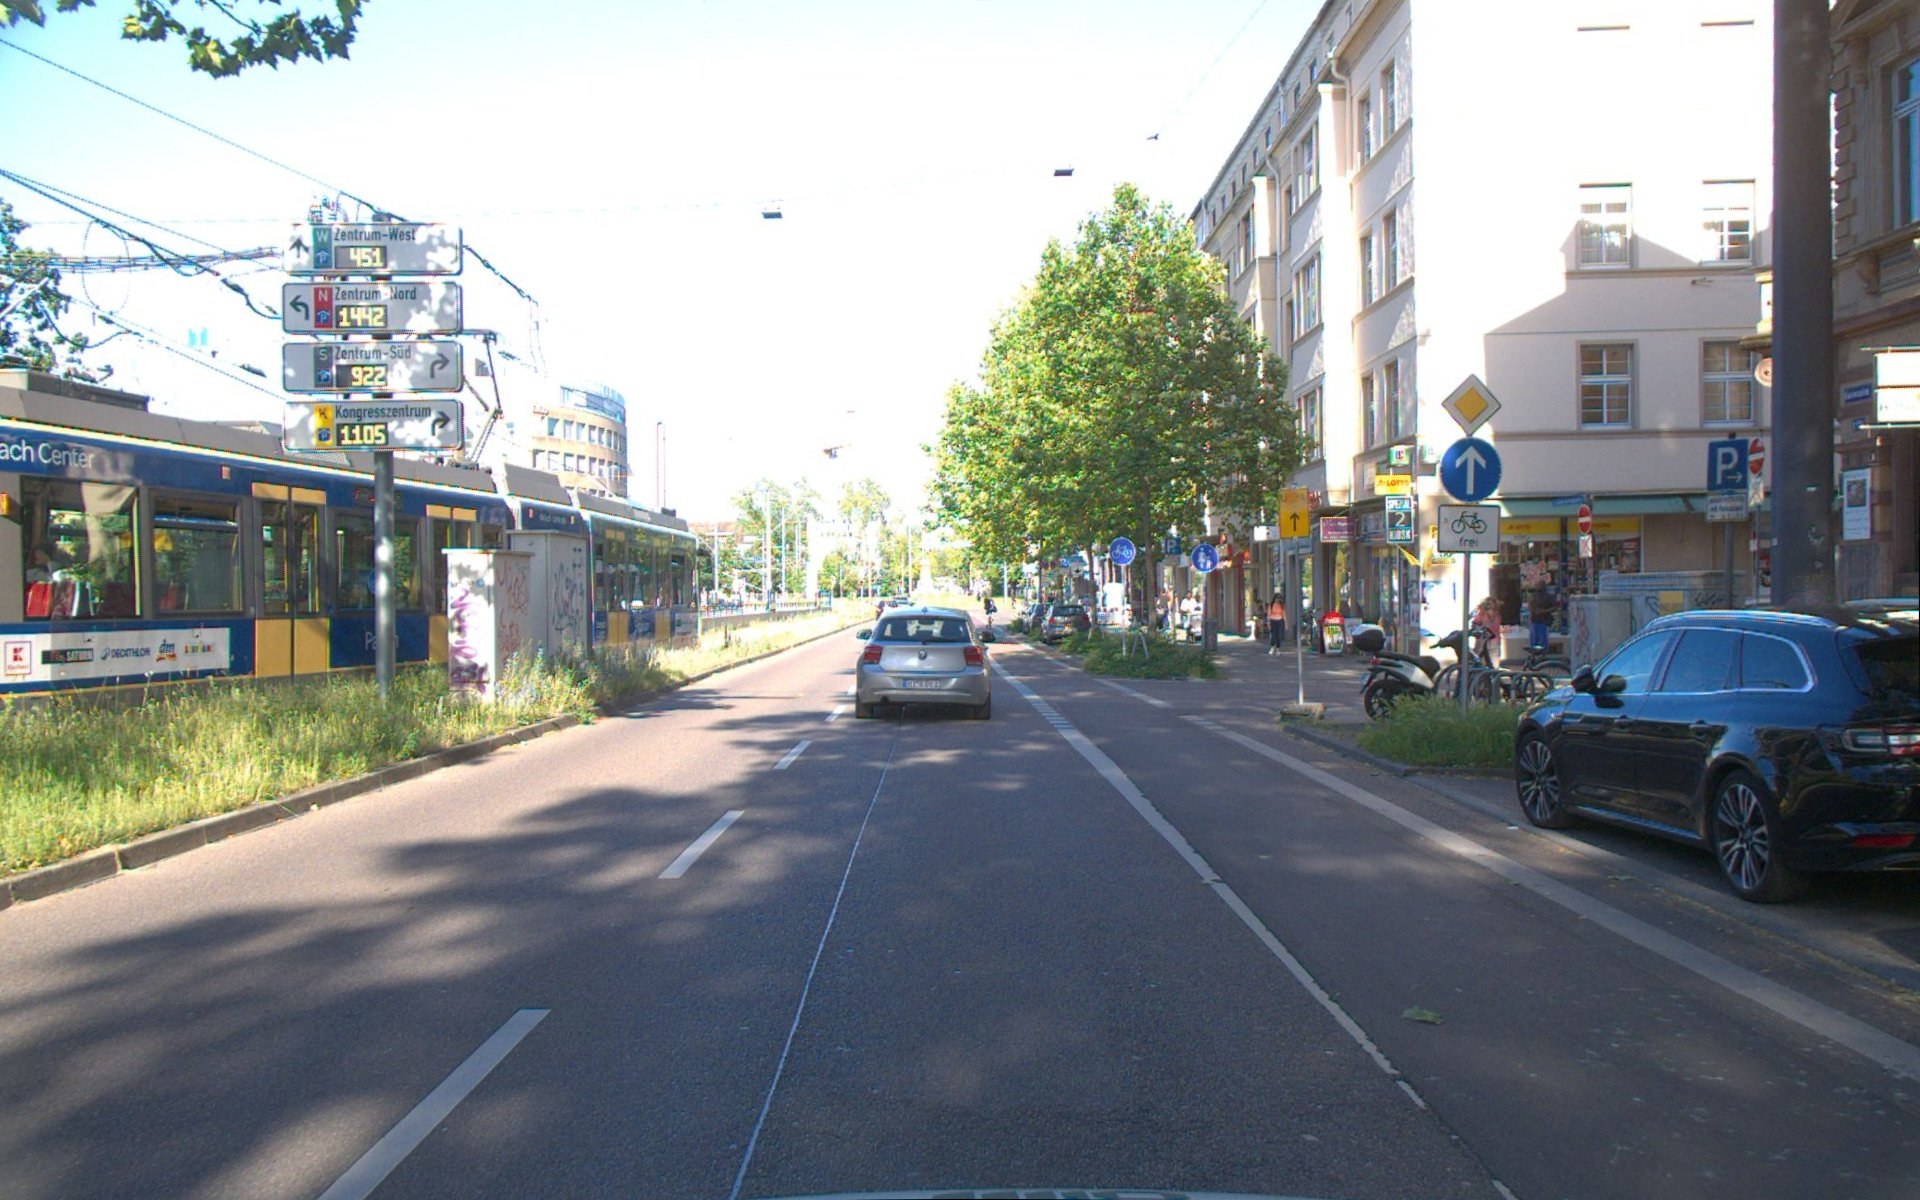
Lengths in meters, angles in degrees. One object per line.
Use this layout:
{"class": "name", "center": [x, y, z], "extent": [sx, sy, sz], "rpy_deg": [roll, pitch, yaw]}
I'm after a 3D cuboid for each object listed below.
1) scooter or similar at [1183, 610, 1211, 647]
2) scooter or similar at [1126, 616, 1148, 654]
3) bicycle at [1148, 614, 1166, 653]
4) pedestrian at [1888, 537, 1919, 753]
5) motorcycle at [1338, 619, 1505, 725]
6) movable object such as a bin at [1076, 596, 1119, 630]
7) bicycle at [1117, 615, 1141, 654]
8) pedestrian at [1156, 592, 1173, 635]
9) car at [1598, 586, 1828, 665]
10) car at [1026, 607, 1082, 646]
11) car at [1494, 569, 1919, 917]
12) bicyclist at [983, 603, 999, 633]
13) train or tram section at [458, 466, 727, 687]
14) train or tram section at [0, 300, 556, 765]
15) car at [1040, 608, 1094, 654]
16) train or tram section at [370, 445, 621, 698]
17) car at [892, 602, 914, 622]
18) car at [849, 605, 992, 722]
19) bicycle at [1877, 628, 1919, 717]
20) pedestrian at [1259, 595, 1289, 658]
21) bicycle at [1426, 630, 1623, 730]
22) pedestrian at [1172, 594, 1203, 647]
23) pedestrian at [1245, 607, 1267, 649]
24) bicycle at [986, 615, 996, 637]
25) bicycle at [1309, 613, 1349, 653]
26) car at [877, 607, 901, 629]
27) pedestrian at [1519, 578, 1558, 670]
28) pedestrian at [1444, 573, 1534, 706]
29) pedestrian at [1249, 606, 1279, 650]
{"class": "scooter or similar", "center": [7.622, 0.917, 53.216], "extent": [0.729, 1.192, 0.848], "rpy_deg": [-1, -1, -4]}
{"class": "scooter or similar", "center": [5.878, 1.166, 54.887], "extent": [0.371, 1.217, 1.575], "rpy_deg": [-1, 0, 19]}
{"class": "bicycle", "center": [6.377, 1.074, 53.477], "extent": [0.377, 1.228, 1.875], "rpy_deg": [1, 0, 13]}
{"class": "pedestrian", "center": [8.606, 0.395, 14.280], "extent": [0.630, 1.859, 0.894], "rpy_deg": [1, -1, -4]}
{"class": "motorcycle", "center": [5.694, 0.888, 20.440], "extent": [1.911, 1.252, 0.515], "rpy_deg": [1, -1, -4]}
{"class": "movable object such as a bin", "center": [8.149, 0.759, 98.421], "extent": [1.908, 1.875, 3.475], "rpy_deg": [-1, 1, -6]}
{"class": "bicycle", "center": [5.397, 1.113, 52.944], "extent": [0.384, 1.236, 1.901], "rpy_deg": [-1, -2, -4]}
{"class": "pedestrian", "center": [8.315, 0.532, 67.311], "extent": [0.546, 1.741, 0.770], "rpy_deg": [0, 0, -1]}
{"class": "car", "center": [15.121, 0.504, 33.350], "extent": [3.857, 1.500, 1.666], "rpy_deg": [-1, 0, 3]}
{"class": "car", "center": [3.885, 1.083, 69.018], "extent": [1.997, 1.535, 4.593], "rpy_deg": [0, 0, -1]}
{"class": "car", "center": [4.827, 0.671, 9.723], "extent": [1.781, 1.541, 4.707], "rpy_deg": [1, -1, -1]}
{"class": "bicyclist", "center": [1.656, 0.965, 88.022], "extent": [0.769, 1.558, 0.895], "rpy_deg": [1, -1, -1]}
{"class": "train or tram section", "center": [-7.435, -0.382, 35.454], "extent": [2.891, 3.965, 10.805], "rpy_deg": [1, -1, 2]}
{"class": "train or tram section", "center": [-8.775, -0.530, 19.166], "extent": [2.866, 3.879, 14.283], "rpy_deg": [1, -1, 8]}
{"class": "car", "center": [3.940, 1.118, 61.428], "extent": [1.660, 1.528, 3.800], "rpy_deg": [-3, 0, -1]}
{"class": "train or tram section", "center": [-7.777, -0.449, 28.200], "extent": [2.893, 3.965, 3.867], "rpy_deg": [1, -1, 4]}
{"class": "car", "center": [-4.291, 0.897, 125.068], "extent": [1.611, 1.446, 3.999], "rpy_deg": [1, -1, -1]}
{"class": "car", "center": [-0.514, 0.791, 22.453], "extent": [1.761, 1.440, 3.999], "rpy_deg": [0, 0, -1]}
{"class": "bicycle", "center": [11.226, 0.836, 18.902], "extent": [0.406, 1.015, 1.882], "rpy_deg": [0, -1, -1]}
{"class": "pedestrian", "center": [8.366, 0.702, 44.045], "extent": [0.668, 1.650, 0.562], "rpy_deg": [0, -1, -3]}
{"class": "bicycle", "center": [6.674, 0.941, 19.593], "extent": [2.177, 1.112, 0.455], "rpy_deg": [1, -1, 0]}
{"class": "pedestrian", "center": [7.457, 0.674, 54.277], "extent": [0.842, 1.734, 0.916], "rpy_deg": [0, -1, -3]}
{"class": "pedestrian", "center": [9.792, 0.916, 54.729], "extent": [0.524, 1.356, 0.820], "rpy_deg": [-1, -1, 0]}
{"class": "bicycle", "center": [1.644, 1.374, 88.062], "extent": [0.489, 1.107, 1.996], "rpy_deg": [1, -1, -1]}
{"class": "bicycle", "center": [10.223, 0.906, 45.895], "extent": [0.480, 1.042, 2.622], "rpy_deg": [1, 0, -1]}
{"class": "car", "center": [-5.030, 1.262, 117.018], "extent": [1.692, 1.496, 4.407], "rpy_deg": [0, 0, -3]}
{"class": "pedestrian", "center": [12.344, 0.507, 35.279], "extent": [0.541, 1.937, 0.586], "rpy_deg": [1, -1, -12]}
{"class": "pedestrian", "center": [8.372, 0.618, 26.234], "extent": [1.066, 2.049, 1.046], "rpy_deg": [1, -1, 0]}
{"class": "pedestrian", "center": [9.887, 0.910, 53.847], "extent": [0.769, 1.393, 0.856], "rpy_deg": [-1, -1, 0]}
